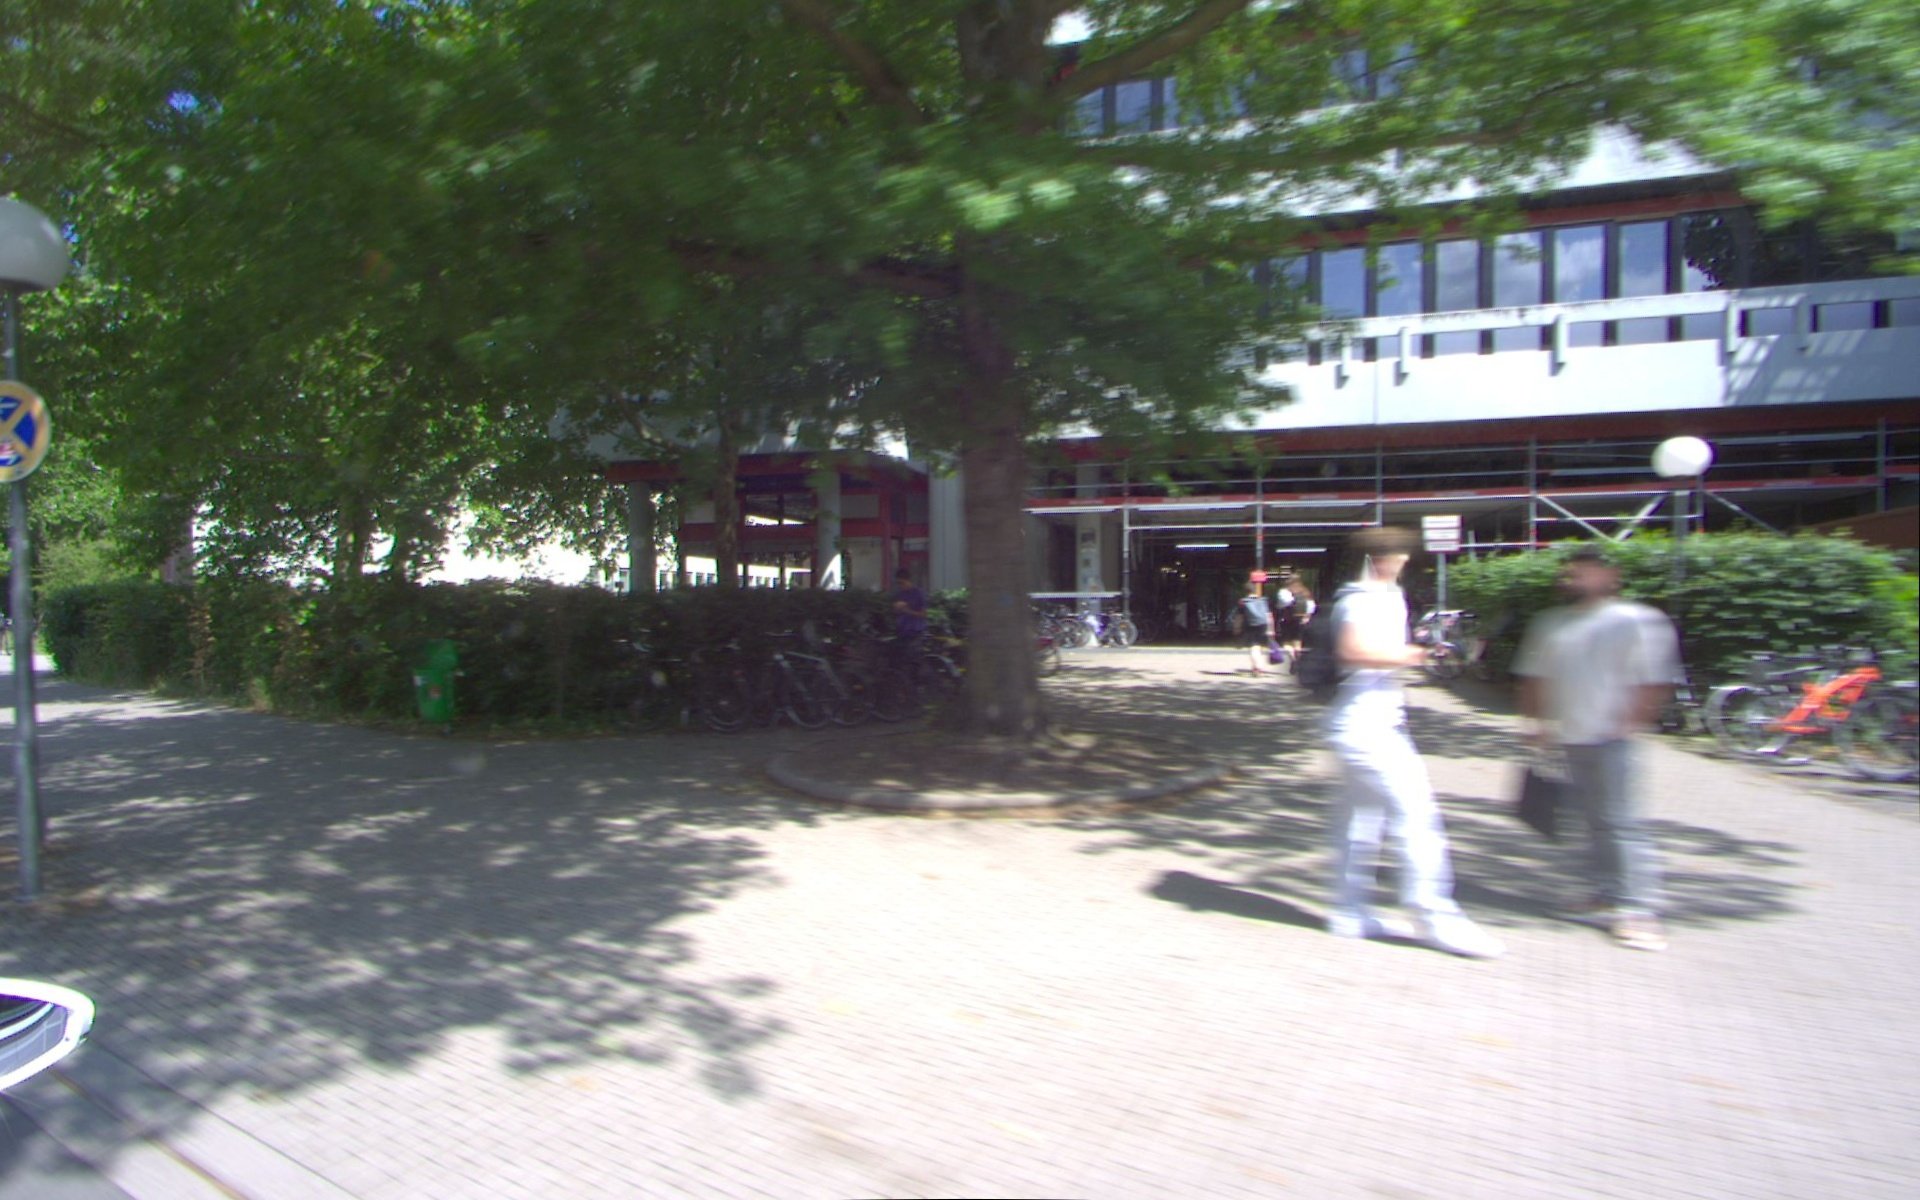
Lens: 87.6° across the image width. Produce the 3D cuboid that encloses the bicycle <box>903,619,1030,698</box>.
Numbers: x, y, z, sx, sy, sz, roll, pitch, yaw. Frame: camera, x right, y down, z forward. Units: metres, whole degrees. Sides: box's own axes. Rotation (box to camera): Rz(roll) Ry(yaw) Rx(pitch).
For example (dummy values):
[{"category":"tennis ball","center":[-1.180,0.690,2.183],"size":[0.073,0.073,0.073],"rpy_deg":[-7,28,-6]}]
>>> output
[{"category":"bicycle","center":[0.094,0.850,14.902],"size":[1.840,1.133,0.499],"rpy_deg":[0,0,23]}]

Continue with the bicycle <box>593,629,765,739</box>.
[{"category":"bicycle","center":[-3.097,0.889,11.012],"size":[1.840,1.133,0.619],"rpy_deg":[0,0,23]}]

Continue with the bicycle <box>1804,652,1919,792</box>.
[{"category":"bicycle","center":[7.684,0.932,7.683],"size":[1.776,1.030,0.513],"rpy_deg":[-1,1,19]}]

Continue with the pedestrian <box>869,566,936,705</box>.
[{"category":"pedestrian","center":[-0.787,0.480,13.776],"size":[0.749,1.861,0.543],"rpy_deg":[0,0,24]}]

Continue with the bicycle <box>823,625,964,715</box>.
[{"category":"bicycle","center":[-0.888,0.897,13.233],"size":[1.840,1.133,0.499],"rpy_deg":[0,0,23]}]

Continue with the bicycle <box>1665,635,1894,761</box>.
[{"category":"bicycle","center":[7.683,0.905,9.422],"size":[1.773,1.092,0.500],"rpy_deg":[-1,1,-2]}]

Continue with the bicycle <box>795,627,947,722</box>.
[{"category":"bicycle","center":[-1.131,0.913,12.614],"size":[1.907,1.133,0.499],"rpy_deg":[0,0,23]}]

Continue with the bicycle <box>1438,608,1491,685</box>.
[{"category":"bicycle","center":[8.101,0.713,16.129],"size":[0.491,1.134,1.868],"rpy_deg":[0,1,18]}]

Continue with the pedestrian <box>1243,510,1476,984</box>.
[{"category":"pedestrian","center":[1.702,0.576,4.336],"size":[0.619,1.845,0.722],"rpy_deg":[0,0,-19]}]

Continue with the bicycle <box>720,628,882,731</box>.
[{"category":"bicycle","center":[-1.871,0.901,11.719],"size":[1.903,1.133,0.499],"rpy_deg":[0,0,23]}]

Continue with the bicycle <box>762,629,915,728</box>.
[{"category":"bicycle","center":[-1.480,0.921,12.136],"size":[1.840,1.133,0.499],"rpy_deg":[0,0,23]}]

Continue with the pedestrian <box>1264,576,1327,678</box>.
[{"category":"pedestrian","center":[5.614,0.442,16.789],"size":[0.710,1.657,0.831],"rpy_deg":[0,0,-9]}]

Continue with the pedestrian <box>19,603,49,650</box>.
[{"category":"pedestrian","center":[-35.239,1.004,38.102],"size":[0.622,1.778,0.816],"rpy_deg":[0,0,44]}]

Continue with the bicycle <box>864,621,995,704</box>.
[{"category":"bicycle","center":[-0.442,0.871,14.326],"size":[1.840,1.133,0.499],"rpy_deg":[0,0,23]}]

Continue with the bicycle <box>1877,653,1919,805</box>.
[{"category":"bicycle","center":[7.591,0.896,6.936],"size":[1.775,1.030,0.513],"rpy_deg":[-1,1,15]}]

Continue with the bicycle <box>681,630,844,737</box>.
[{"category":"bicycle","center":[-2.234,0.914,11.303],"size":[1.840,1.133,0.499],"rpy_deg":[0,0,23]}]

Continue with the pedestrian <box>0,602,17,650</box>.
[{"category":"pedestrian","center":[-35.856,0.977,37.606],"size":[0.622,1.778,0.597],"rpy_deg":[0,0,45]}]

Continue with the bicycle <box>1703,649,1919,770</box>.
[{"category":"bicycle","center":[7.632,0.951,8.851],"size":[1.773,0.970,0.514],"rpy_deg":[-1,1,-2]}]

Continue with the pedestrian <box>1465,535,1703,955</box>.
[{"category":"pedestrian","center":[2.819,0.604,4.571],"size":[0.554,1.732,0.744],"rpy_deg":[0,0,-19]}]

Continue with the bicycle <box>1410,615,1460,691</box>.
[{"category":"bicycle","center":[7.234,0.776,15.296],"size":[0.491,1.040,1.868],"rpy_deg":[0,1,19]}]

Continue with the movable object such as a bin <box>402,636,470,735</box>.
[{"category":"movable object such as a bin","center":[-6.012,0.965,11.502],"size":[0.497,1.086,0.489],"rpy_deg":[0,0,25]}]

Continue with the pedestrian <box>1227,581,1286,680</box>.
[{"category":"pedestrian","center":[4.885,0.493,16.543],"size":[0.714,1.593,0.760],"rpy_deg":[0,0,-5]}]
